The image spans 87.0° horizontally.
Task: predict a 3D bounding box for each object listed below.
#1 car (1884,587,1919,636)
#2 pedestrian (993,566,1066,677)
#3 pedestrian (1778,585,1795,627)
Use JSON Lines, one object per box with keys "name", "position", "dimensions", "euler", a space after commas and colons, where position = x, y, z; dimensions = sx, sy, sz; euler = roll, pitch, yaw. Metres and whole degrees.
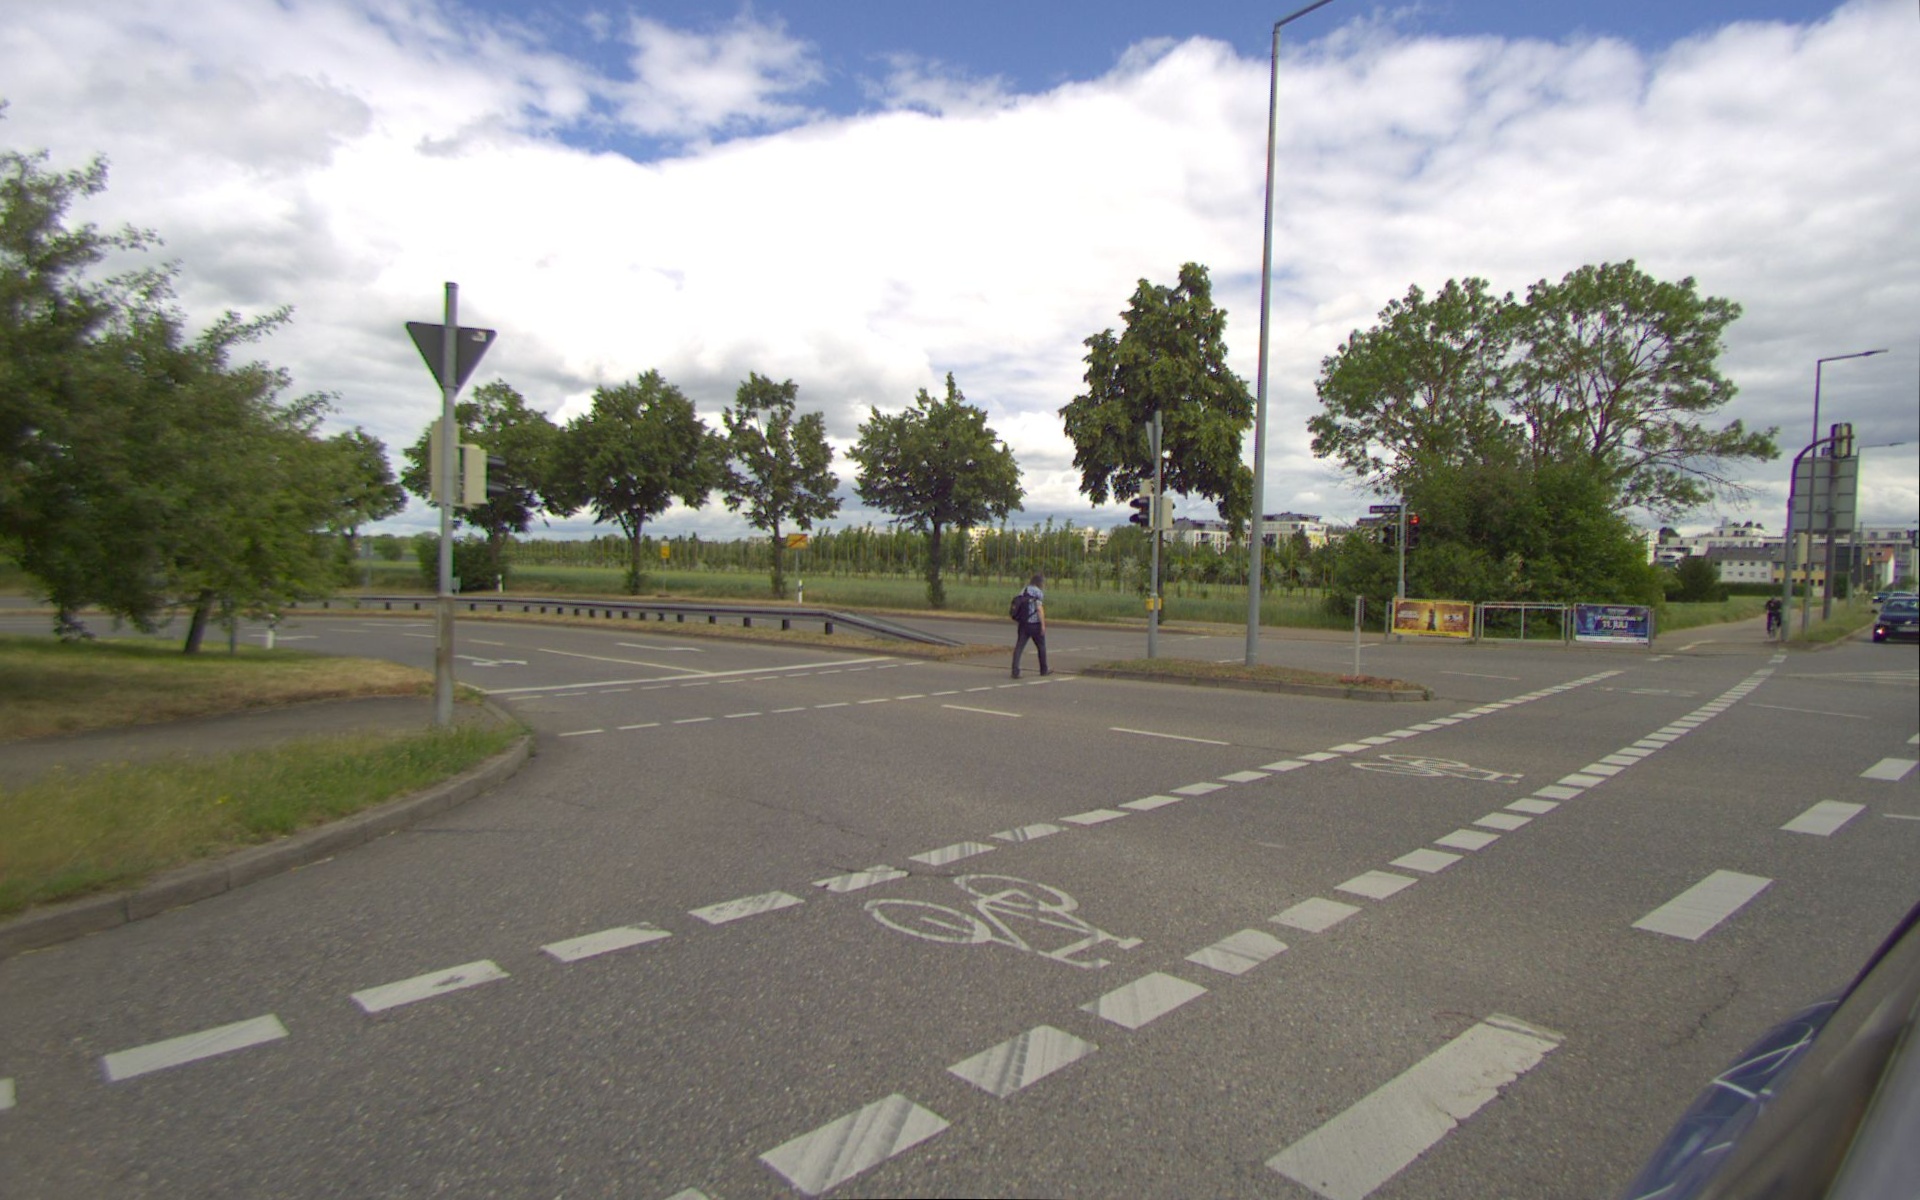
{"name": "car", "position": [30.076, 0.338, 31.521], "dimensions": [3.679, 1.436, 1.680], "euler": [-1, 2, -44]}
{"name": "pedestrian", "position": [1.180, 0.338, 17.144], "dimensions": [1.025, 1.815, 0.719], "euler": [-1, 1, -41]}
{"name": "pedestrian", "position": [34.011, 0.249, 41.643], "dimensions": [0.491, 1.724, 0.616], "euler": [0, 1, 43]}
